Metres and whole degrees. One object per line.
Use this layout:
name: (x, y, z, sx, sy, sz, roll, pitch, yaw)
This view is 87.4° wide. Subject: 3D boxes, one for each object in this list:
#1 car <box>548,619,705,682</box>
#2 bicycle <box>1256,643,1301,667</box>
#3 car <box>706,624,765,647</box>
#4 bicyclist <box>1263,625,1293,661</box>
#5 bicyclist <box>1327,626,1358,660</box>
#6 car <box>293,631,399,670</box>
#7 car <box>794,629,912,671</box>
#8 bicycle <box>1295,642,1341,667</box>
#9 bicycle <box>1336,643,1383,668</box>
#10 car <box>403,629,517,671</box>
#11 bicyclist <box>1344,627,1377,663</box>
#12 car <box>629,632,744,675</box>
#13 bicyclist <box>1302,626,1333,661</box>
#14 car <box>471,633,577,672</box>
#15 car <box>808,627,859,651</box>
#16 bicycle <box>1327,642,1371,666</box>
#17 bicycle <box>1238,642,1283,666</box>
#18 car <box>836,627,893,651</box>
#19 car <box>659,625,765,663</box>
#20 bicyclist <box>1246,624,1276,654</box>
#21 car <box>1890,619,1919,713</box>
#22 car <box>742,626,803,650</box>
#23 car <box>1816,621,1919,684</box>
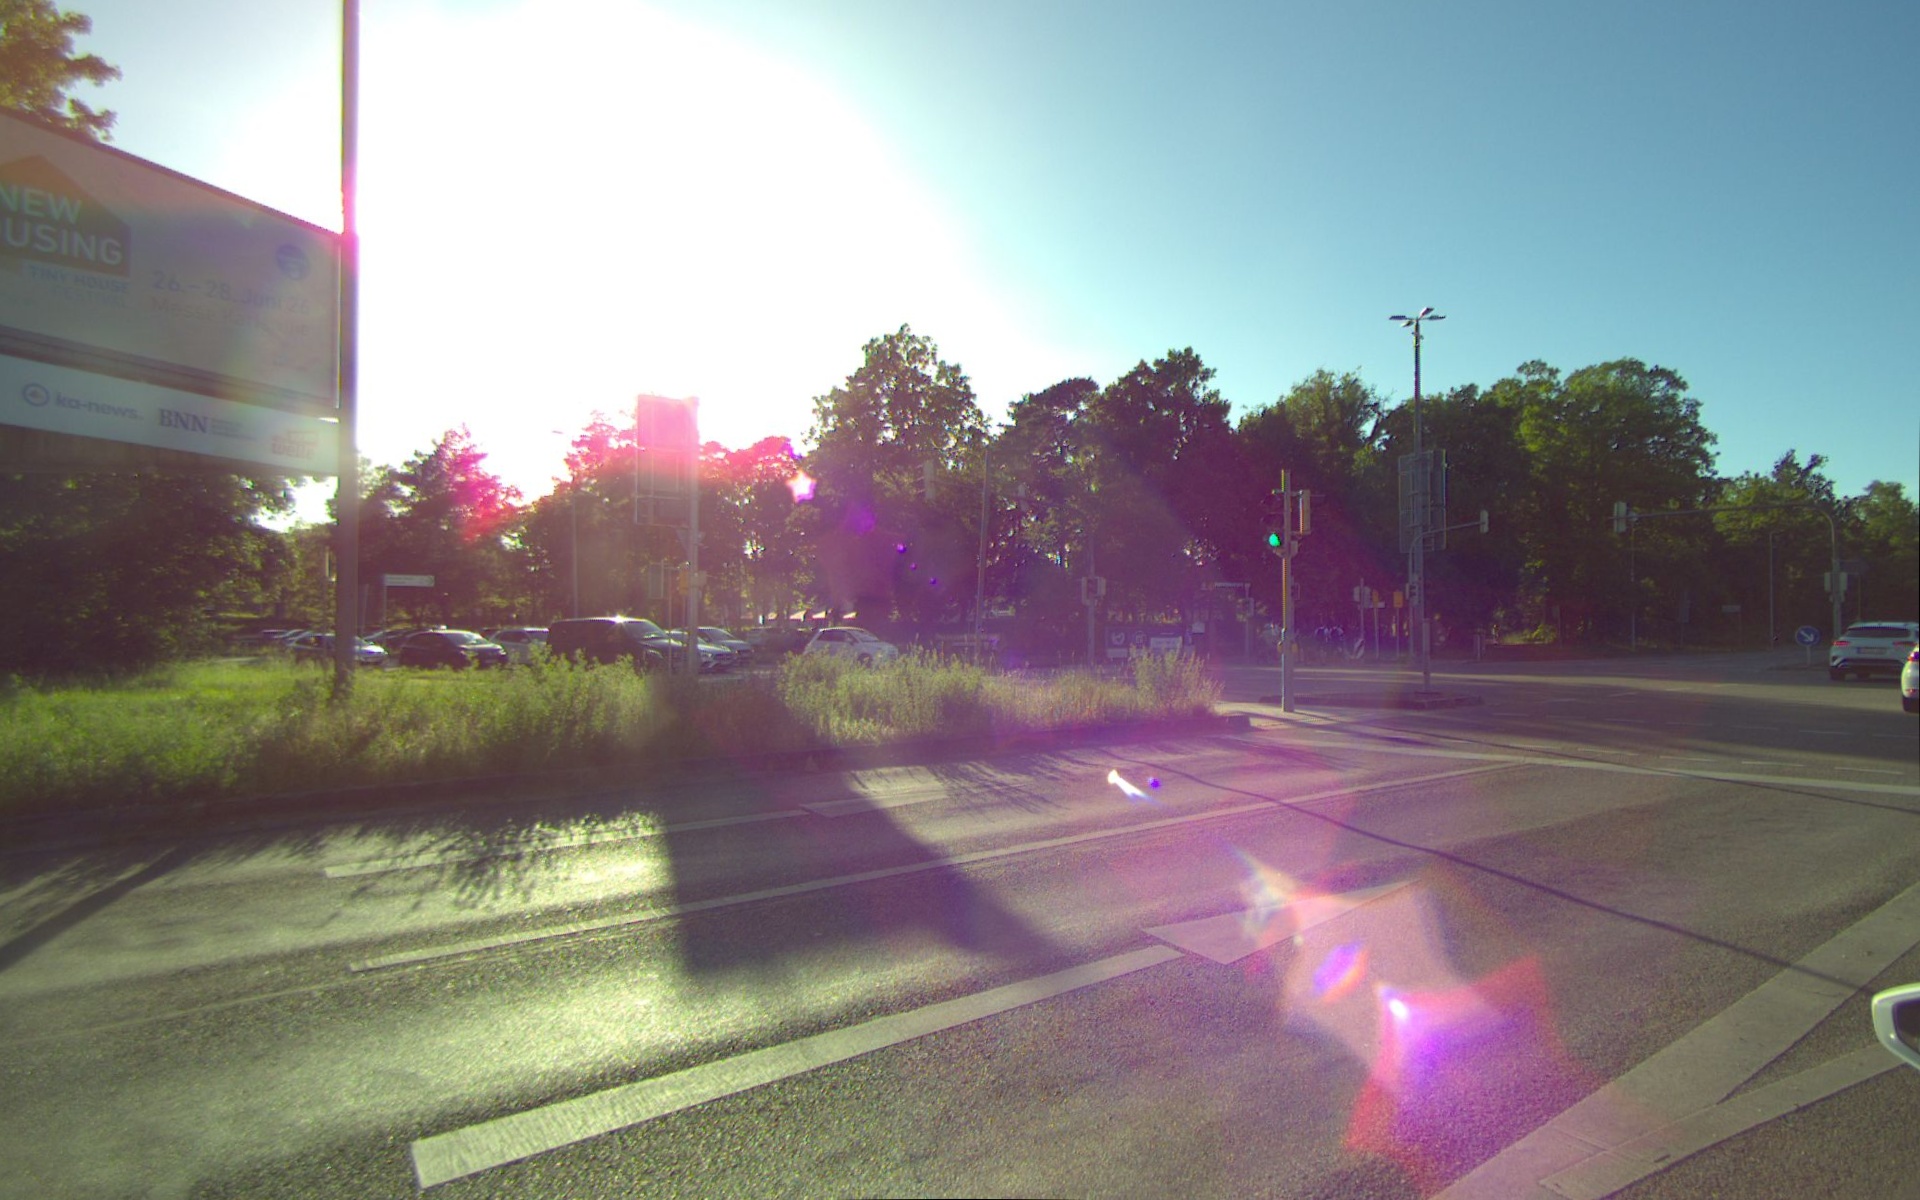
car: (-10.561, 1.546, 31.735, 4.844, 1.854, 1.925, -1, -2, 29)
bicycle: (12.709, 2.183, 40.088, 1.890, 0.926, 0.710, 1, -2, -33)
car: (-16.365, 2.594, 73.419, 1.787, 1.621, 3.952, -1, -2, 41)
bicyclist: (12.680, 1.695, 40.081, 0.980, 1.408, 0.706, 1, -1, -33)
bicyclist: (15.417, 1.713, 40.503, 0.980, 1.360, 0.711, 1, -1, -33)
car: (-23.524, 1.905, 38.488, 3.731, 1.407, 1.851, -1, -2, 29)
car: (-3.794, 1.725, 35.536, 3.731, 1.407, 1.926, -1, -2, 29)
bicycle: (14.093, 2.136, 39.566, 1.890, 0.926, 0.710, 1, -2, -33)
bicycle: (15.110, 2.093, 37.995, 1.890, 0.926, 0.710, 1, -2, -33)
car: (-17.933, 1.768, 36.001, 3.731, 1.407, 1.851, -1, -2, 29)
bicyclist: (15.162, 1.695, 38.032, 0.980, 1.356, 0.711, 1, -1, -33)
car: (-9.428, 1.811, 34.606, 3.731, 1.407, 1.645, -1, -2, 29)
bicyclist: (14.091, 1.696, 39.570, 0.980, 1.373, 0.711, 1, -1, -33)
car: (-16.787, 1.996, 38.636, 3.731, 1.407, 1.851, -1, -2, 29)
car: (-8.786, 2.724, 70.185, 1.782, 1.621, 3.494, -1, -1, 31)
bicycle: (15.794, 2.167, 40.746, 1.890, 0.926, 0.710, 1, -2, -33)
bicycle: (12.250, 2.194, 40.871, 1.890, 0.926, 0.710, 0, -1, -33)
car: (-6.516, 2.662, 69.055, 1.782, 1.621, 4.187, -1, -1, 31)
car: (-9.636, 1.682, 38.964, 3.731, 1.407, 1.851, -1, -2, 29)
bicyclist: (12.250, 1.594, 40.884, 0.980, 1.208, 0.711, 1, -1, -33)
car: (16.478, 1.028, 16.065, 3.968, 1.433, 1.924, 1, -2, -41)
car: (-13.417, 2.698, 72.148, 1.787, 1.621, 4.130, -1, -2, 41)
car: (23.738, 1.310, 25.787, 3.962, 1.463, 1.850, 1, -1, -37)
